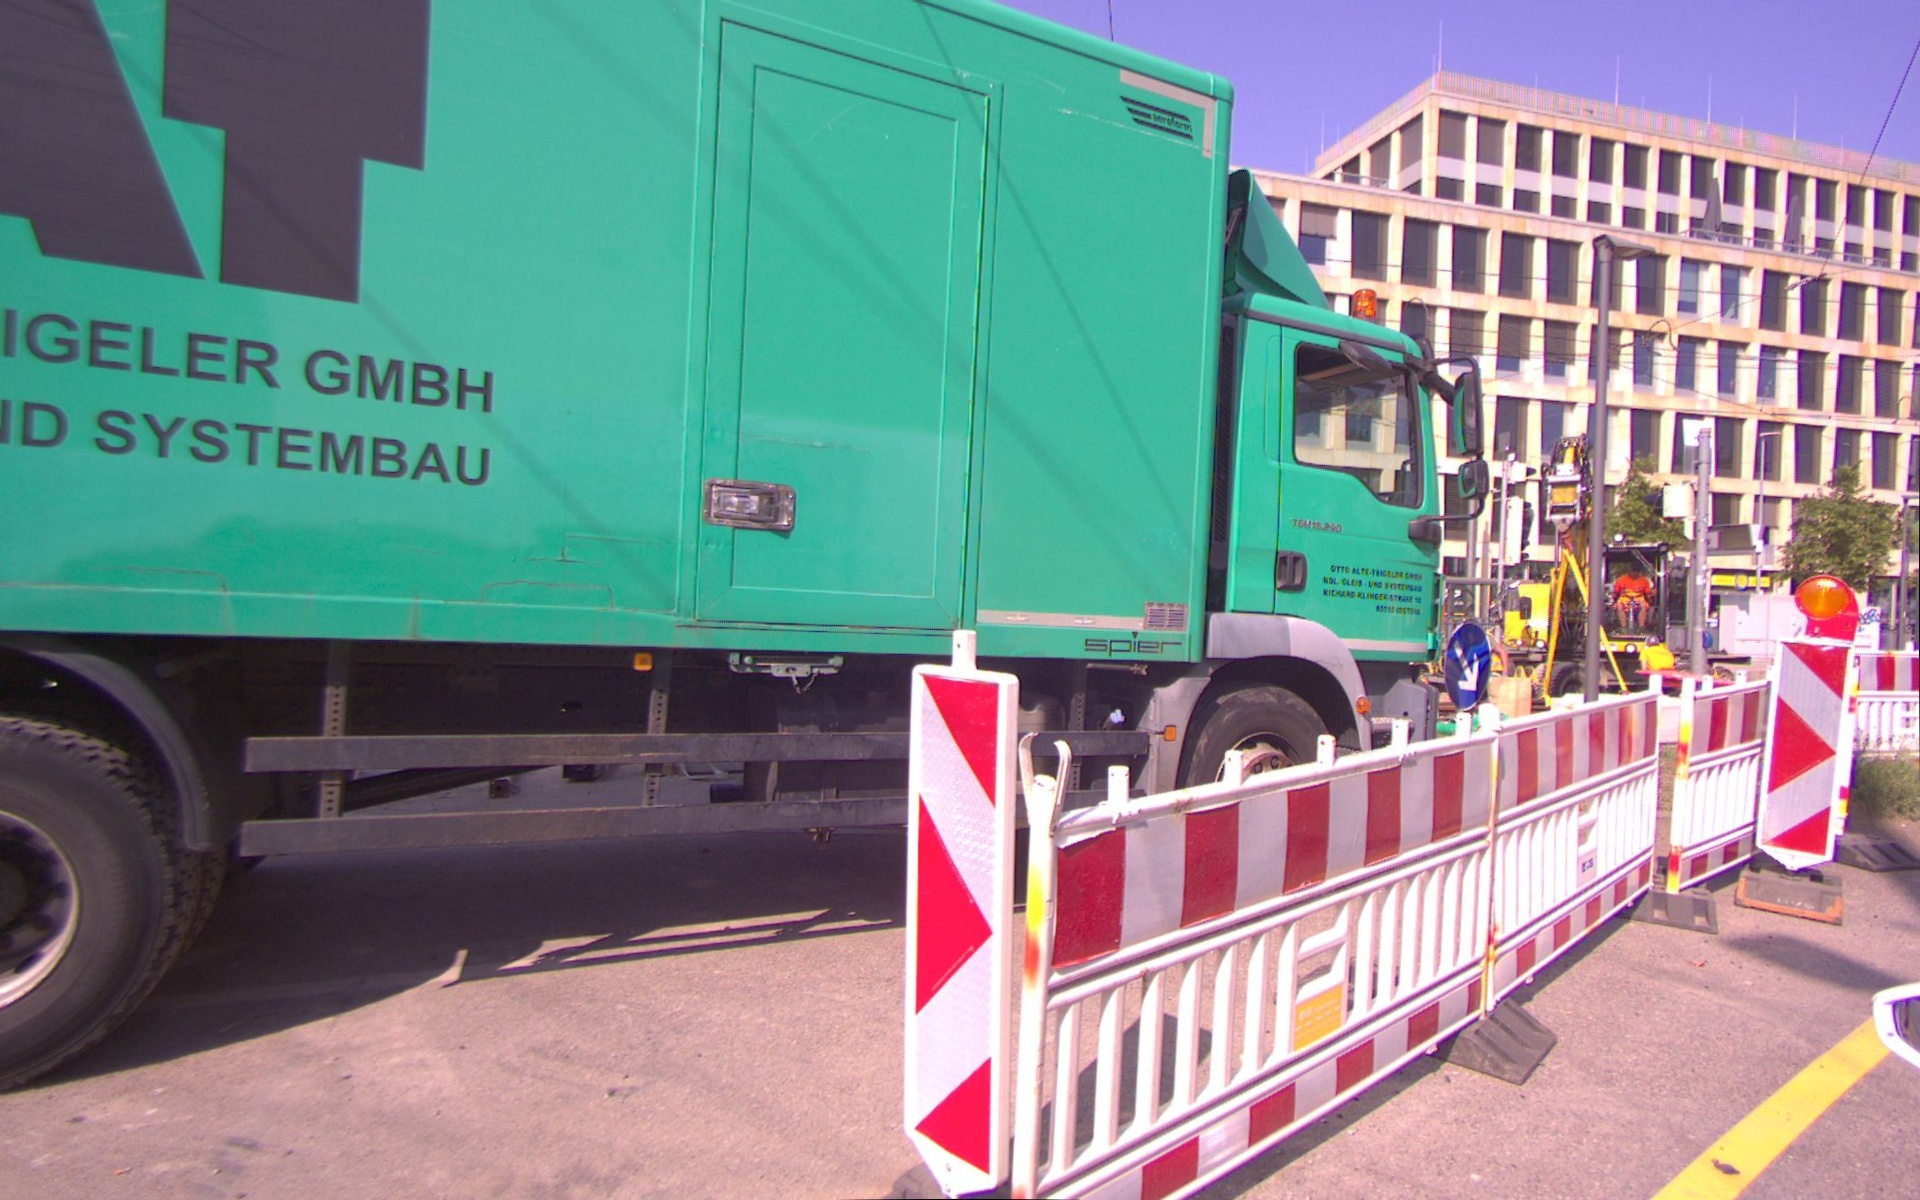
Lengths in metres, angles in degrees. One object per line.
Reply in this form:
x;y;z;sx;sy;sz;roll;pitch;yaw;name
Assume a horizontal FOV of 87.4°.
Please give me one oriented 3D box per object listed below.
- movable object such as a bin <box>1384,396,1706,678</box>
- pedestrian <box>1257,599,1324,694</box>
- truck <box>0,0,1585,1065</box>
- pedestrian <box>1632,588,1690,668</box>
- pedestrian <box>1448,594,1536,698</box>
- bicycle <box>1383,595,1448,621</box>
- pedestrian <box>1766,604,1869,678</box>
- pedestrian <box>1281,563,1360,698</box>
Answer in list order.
10.545;-1.039;18.384;4.139;4.615;2.989;0;1;-13;movable object such as a bin
4.336;0.595;13.236;0.688;1.193;0.703;1;1;6;pedestrian
-1.357;-0.722;4.613;8.892;3.839;2.800;0;0;-25;truck
10.597;0.407;15.205;0.577;1.170;0.702;1;1;24;pedestrian
7.137;0.601;13.509;0.820;1.353;0.703;1;1;6;pedestrian
17.546;0.296;38.762;0.930;0.980;2.429;0;1;-16;bicycle
11.854;0.554;13.904;0.867;0.968;0.701;0;1;-15;pedestrian
4.136;0.338;11.571;0.689;1.499;0.743;1;1;7;pedestrian
